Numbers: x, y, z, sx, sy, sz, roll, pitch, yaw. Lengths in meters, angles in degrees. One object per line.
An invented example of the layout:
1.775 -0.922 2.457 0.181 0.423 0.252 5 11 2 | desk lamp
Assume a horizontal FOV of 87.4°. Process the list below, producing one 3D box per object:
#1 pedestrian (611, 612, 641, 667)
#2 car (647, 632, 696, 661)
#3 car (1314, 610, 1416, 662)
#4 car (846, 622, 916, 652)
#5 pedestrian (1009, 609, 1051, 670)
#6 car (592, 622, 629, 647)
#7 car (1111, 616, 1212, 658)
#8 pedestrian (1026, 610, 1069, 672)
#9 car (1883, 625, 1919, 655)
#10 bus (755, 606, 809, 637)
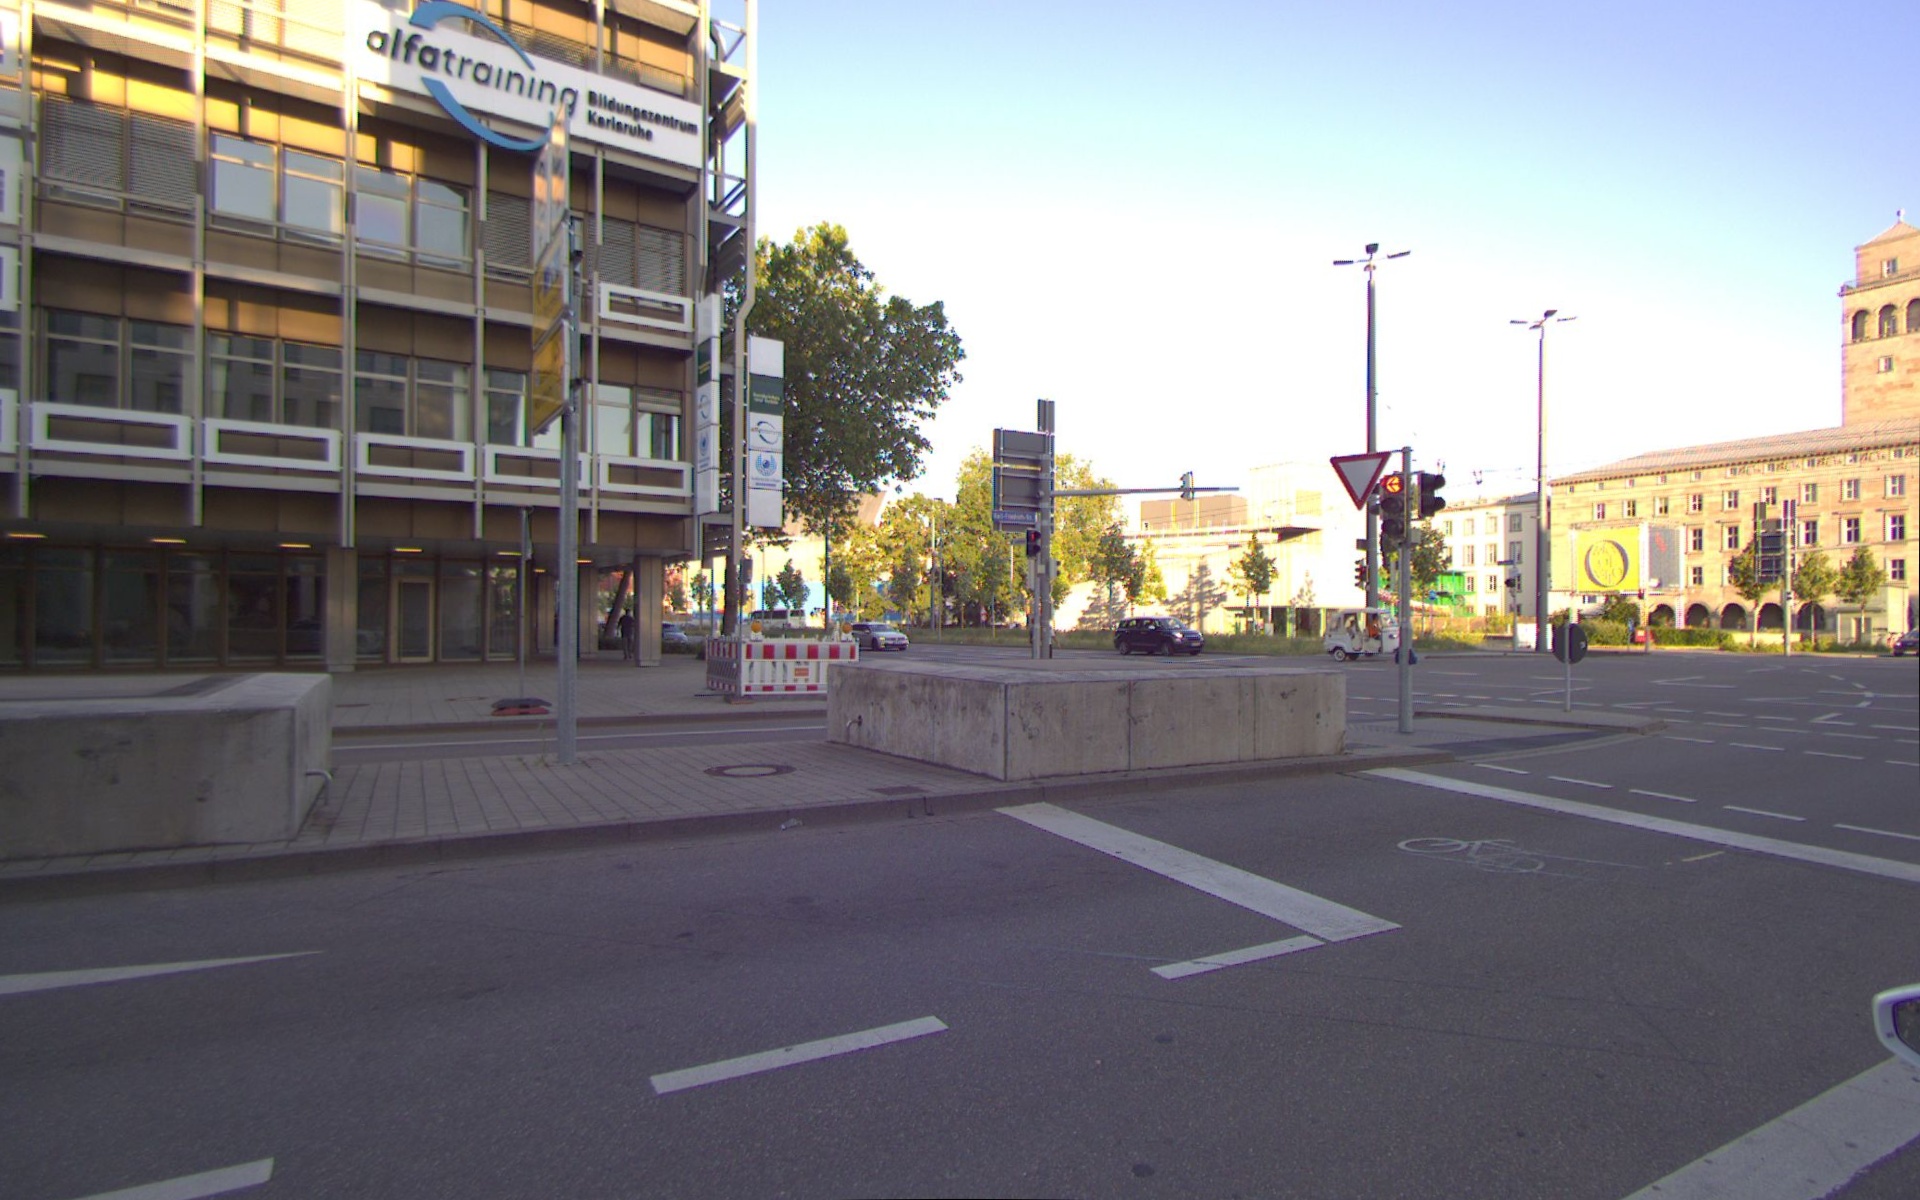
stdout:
-11.559 1.360 34.755 0.749 1.830 0.715 2 0 -35 | pedestrian
-16.973 2.697 58.914 1.722 1.605 4.554 0 -1 -30 | car
13.750 1.200 34.153 2.929 1.718 1.481 -1 -1 39 | car
-4.225 1.915 53.072 1.831 1.476 4.552 0 -1 -32 | car
2.059 1.151 29.551 0.949 1.744 0.816 1 -1 -34 | pedestrian
-24.365 2.383 69.942 1.722 1.605 3.764 0 -1 -31 | car
8.329 1.511 41.881 1.727 1.626 4.093 1 -1 -35 | car
2.511 1.161 28.791 0.949 1.744 0.816 1 -1 -34 | pedestrian
51.246 2.130 53.661 4.111 1.485 1.813 0 -1 -32 | car
-23.162 2.759 130.257 2.959 3.818 10.341 1 -1 -34 | bus
